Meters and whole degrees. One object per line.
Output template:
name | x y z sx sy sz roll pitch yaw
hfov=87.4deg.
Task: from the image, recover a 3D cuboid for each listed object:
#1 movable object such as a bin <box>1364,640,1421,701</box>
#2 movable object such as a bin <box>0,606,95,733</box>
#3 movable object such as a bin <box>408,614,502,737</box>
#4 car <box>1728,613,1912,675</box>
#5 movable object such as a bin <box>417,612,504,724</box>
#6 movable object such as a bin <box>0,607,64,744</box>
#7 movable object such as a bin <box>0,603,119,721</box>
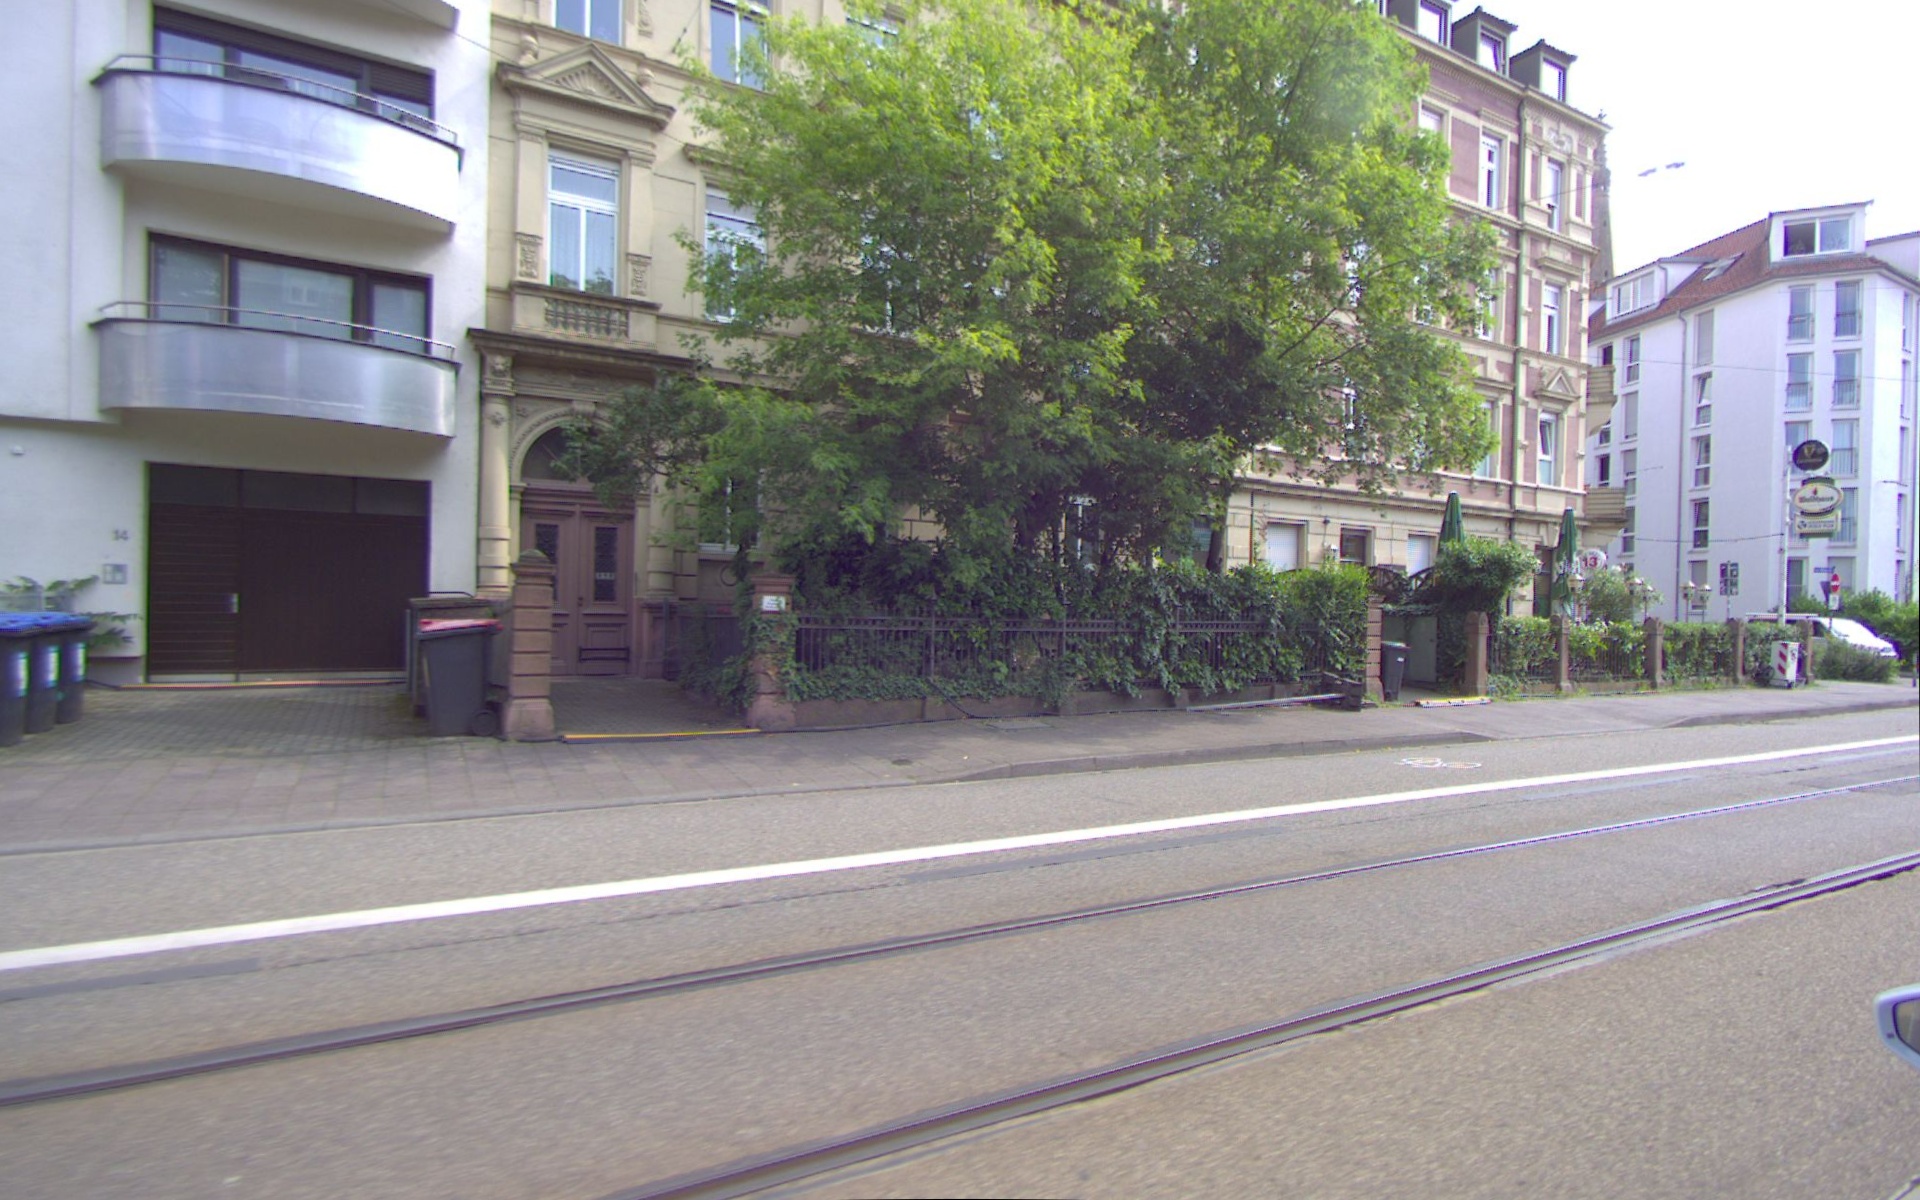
movable object such as a bin | 7.058 1.138 16.402 0.633 0.937 0.576 1 0 -30
movable object such as a bin | -8.658 0.626 9.375 0.725 1.122 0.769 1 0 -30
movable object such as a bin | -4.896 0.709 9.733 0.726 1.122 0.663 1 0 -33
car | 30.740 1.505 36.147 2.012 2.040 4.940 1 -1 -7
movable object such as a bin | -5.265 0.694 10.582 0.726 1.122 0.663 1 0 -33
movable object such as a bin | -8.265 0.628 8.592 0.725 1.122 0.769 1 0 -30
movable object such as a bin | -9.015 0.603 10.088 0.725 1.122 0.769 1 0 -30
